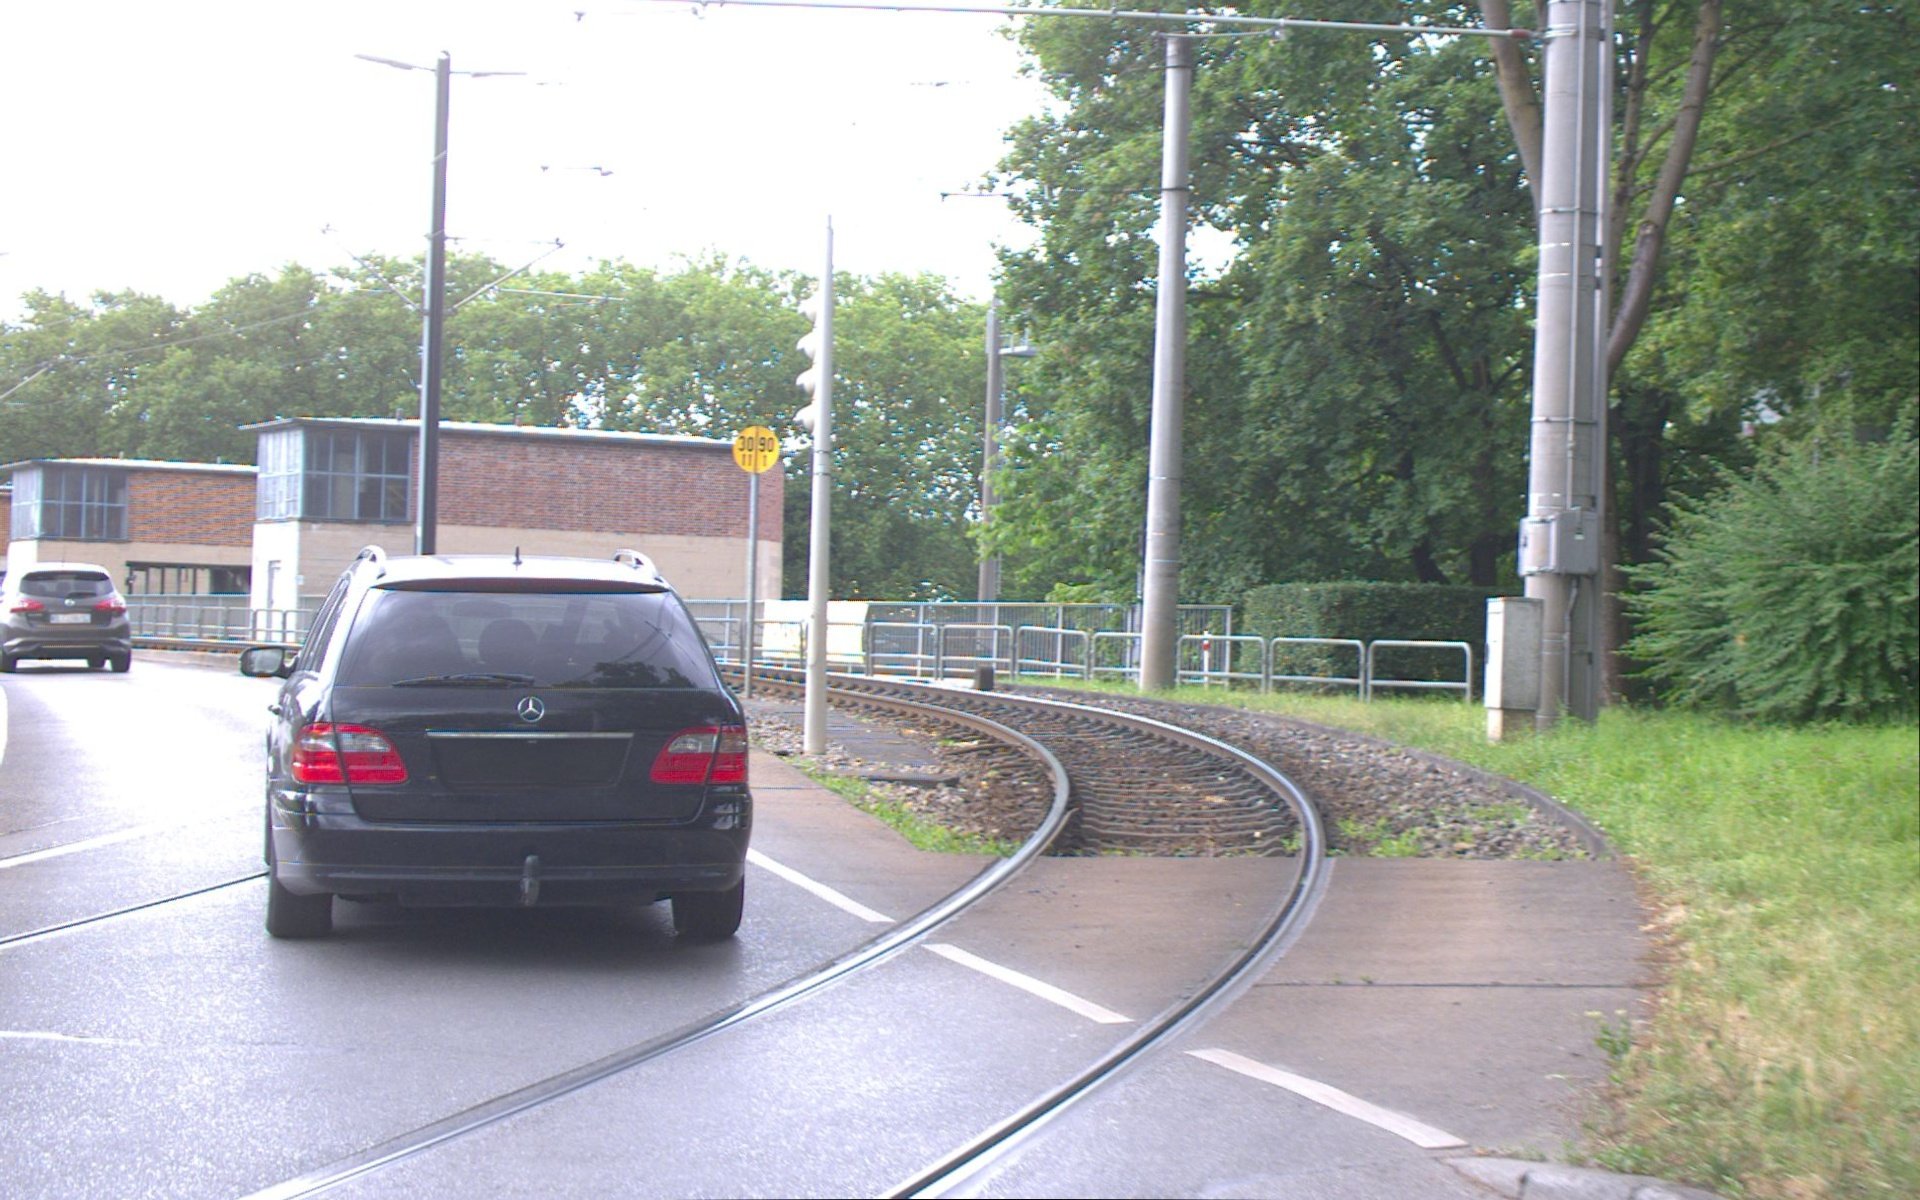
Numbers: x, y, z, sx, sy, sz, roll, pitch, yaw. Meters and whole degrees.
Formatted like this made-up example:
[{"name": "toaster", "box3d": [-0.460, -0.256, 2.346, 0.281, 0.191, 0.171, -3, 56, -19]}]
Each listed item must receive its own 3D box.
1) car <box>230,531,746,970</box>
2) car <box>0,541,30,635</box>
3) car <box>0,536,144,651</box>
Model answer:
[{"name": "car", "box3d": [-1.909, 0.486, 14.133, 1.758, 1.510, 4.443, 1, 1, -7]}, {"name": "car", "box3d": [-17.744, -0.229, 60.628, 1.993, 1.559, 4.999, -1, 2, -22]}, {"name": "car", "box3d": [-12.975, -0.106, 48.825, 1.770, 1.550, 4.241, 0, 0, -26]}]
